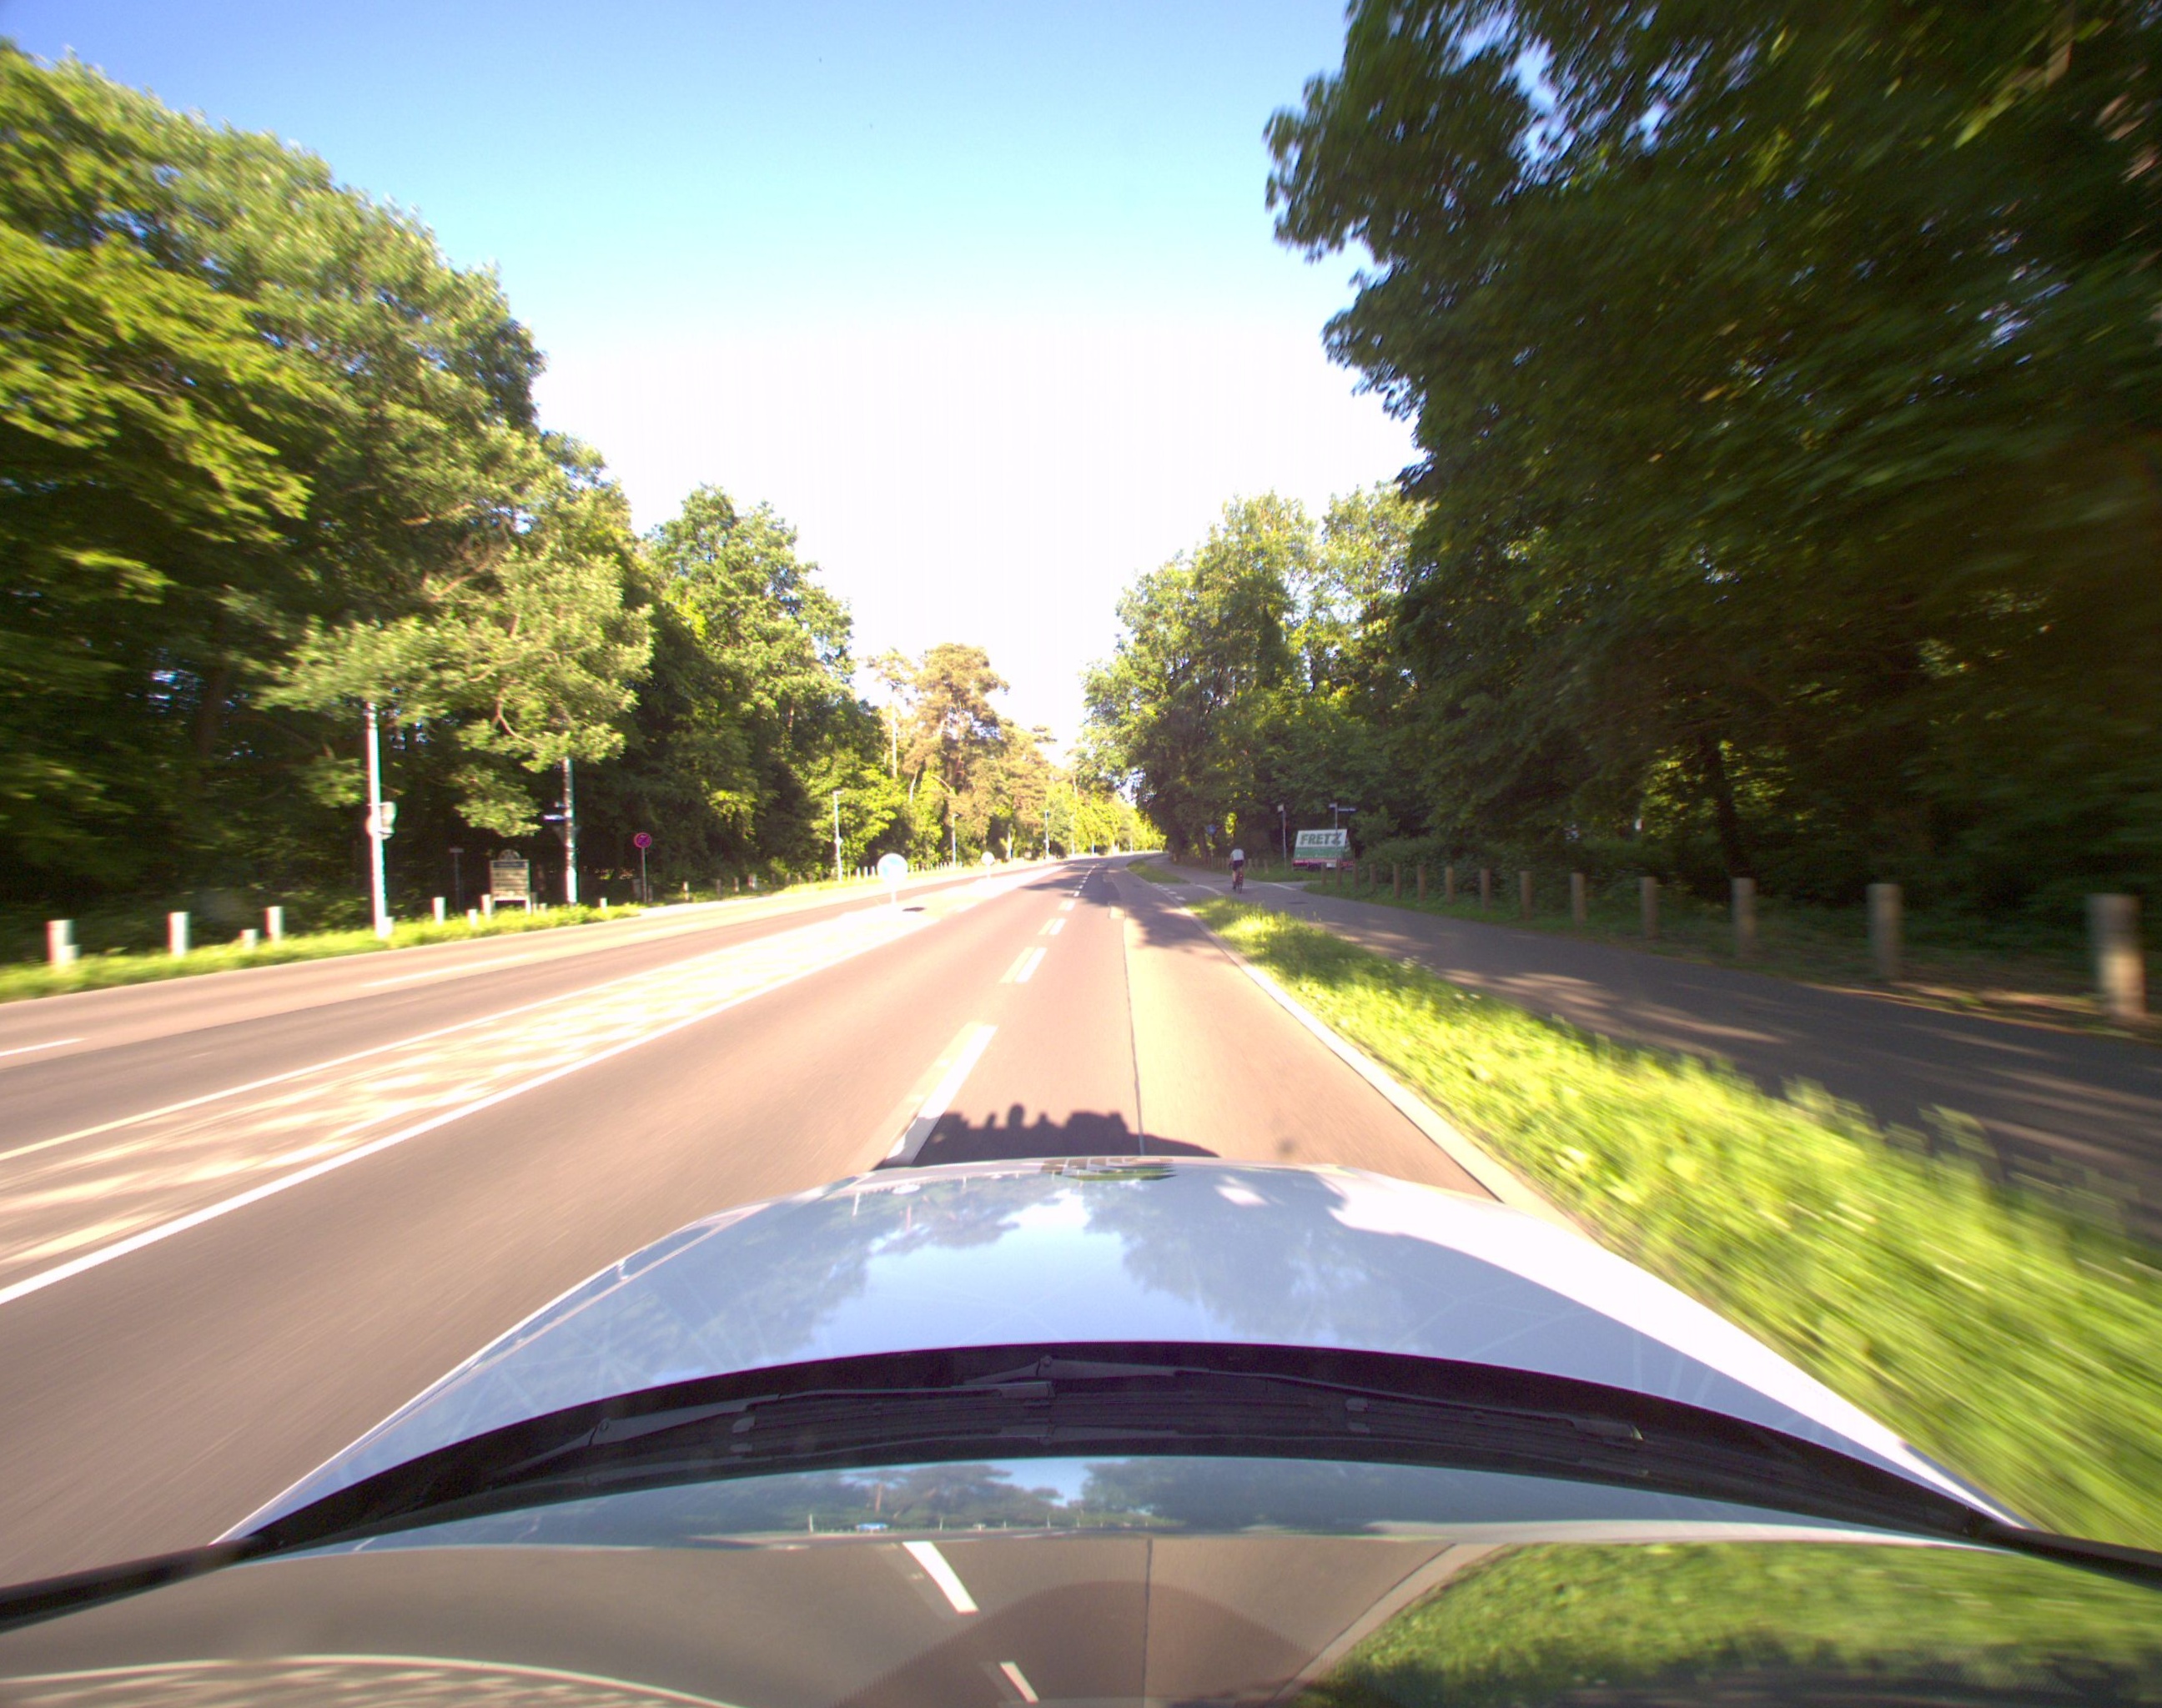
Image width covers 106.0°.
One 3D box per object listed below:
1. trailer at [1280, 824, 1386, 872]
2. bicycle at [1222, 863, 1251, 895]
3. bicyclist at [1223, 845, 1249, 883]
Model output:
[{"bbox_3d":[11.665,-0.262,37.878,4.173,2.021,2.012,-2,0,42],"label":"trailer"},{"bbox_3d":[5.525,0.860,29.059,0.709,1.056,2.054,-1,0,2],"label":"bicycle"},{"bbox_3d":[5.515,0.348,29.033,0.709,1.288,1.105,-1,0,2],"label":"bicyclist"}]
